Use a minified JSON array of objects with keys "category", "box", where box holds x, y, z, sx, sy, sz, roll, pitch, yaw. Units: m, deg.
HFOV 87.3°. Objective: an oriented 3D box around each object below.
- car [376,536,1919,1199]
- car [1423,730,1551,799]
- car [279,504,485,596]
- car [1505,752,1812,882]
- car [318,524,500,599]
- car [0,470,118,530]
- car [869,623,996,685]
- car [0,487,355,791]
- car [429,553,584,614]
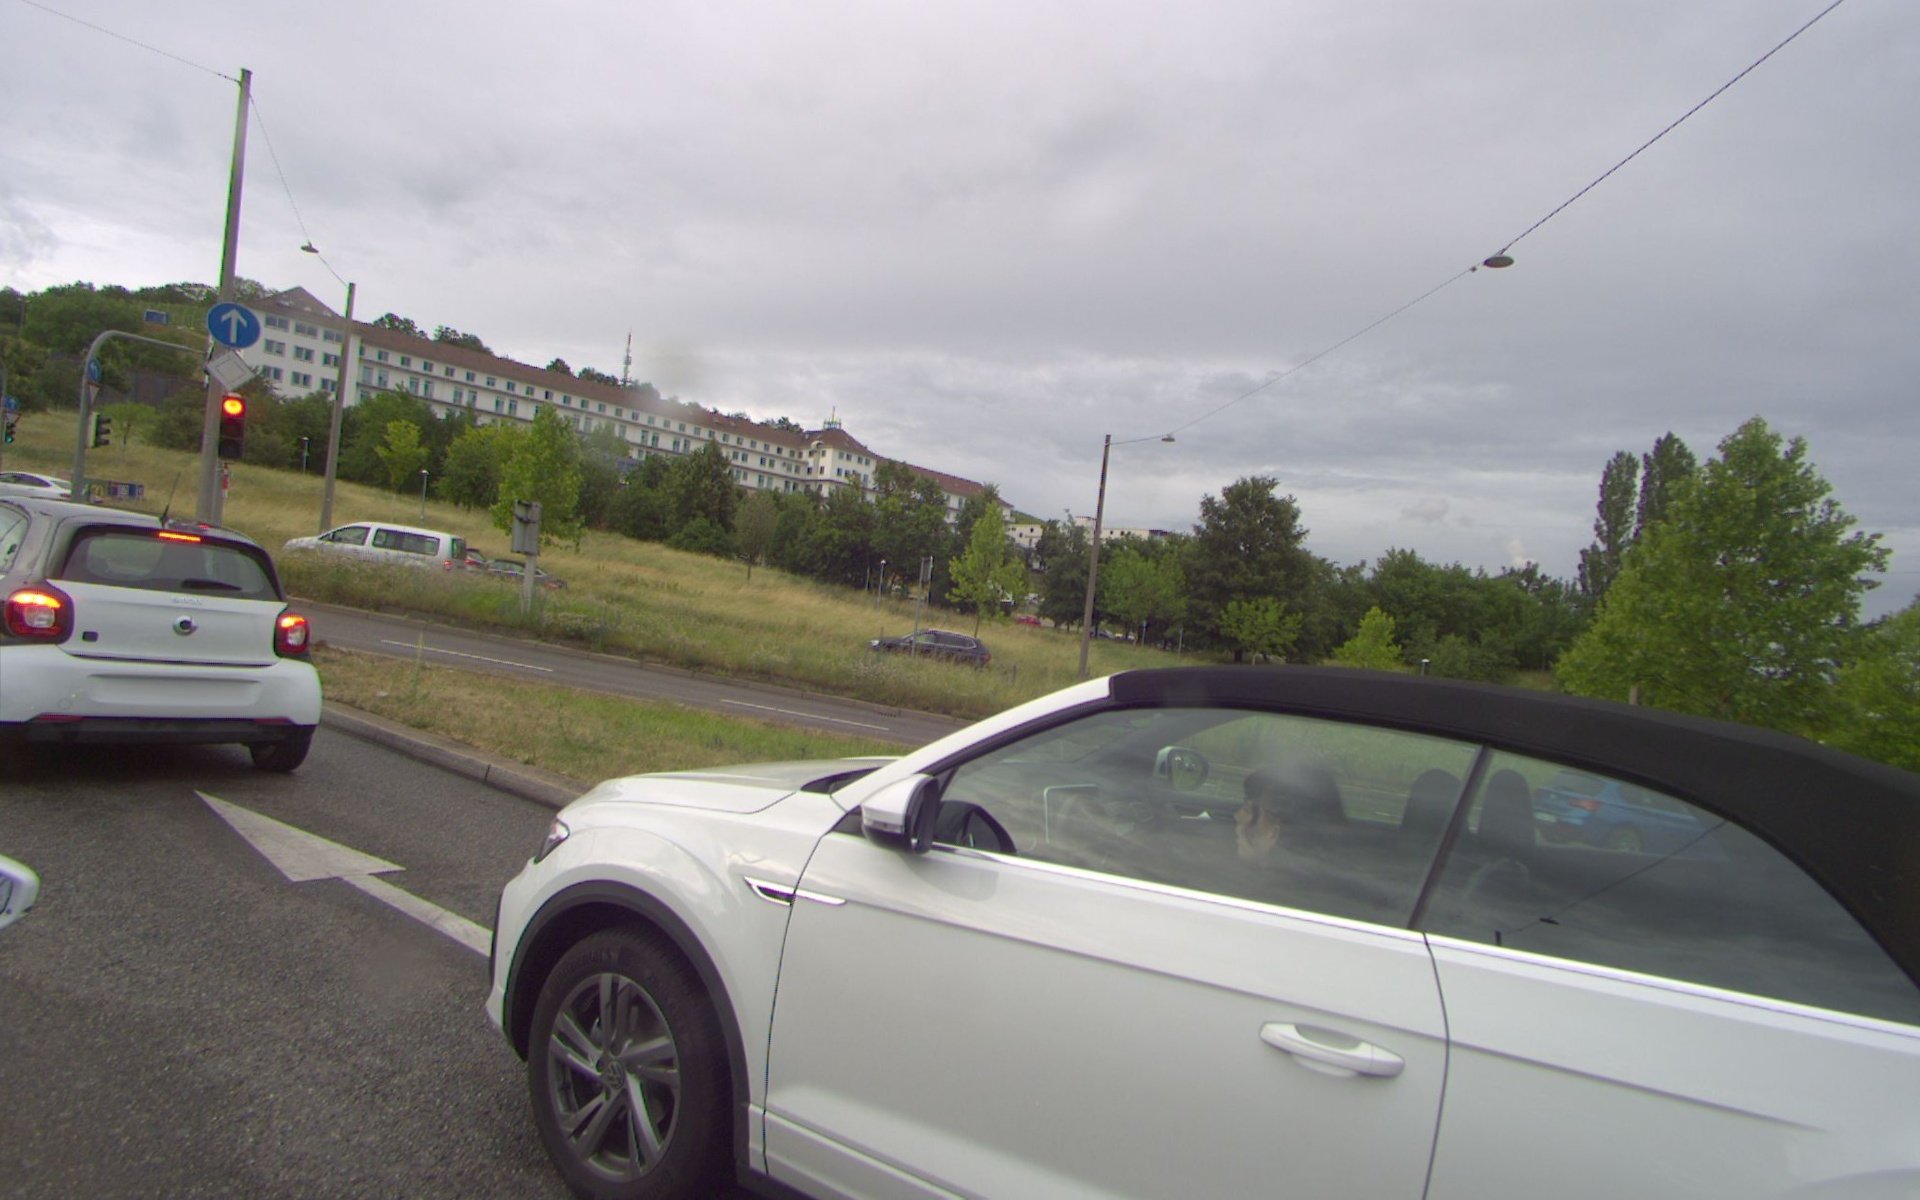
[{"category":"car","box":[0.757,0.886,2.427,4.157,1.571,1.718,6,-2,29]},{"category":"car","box":[20.960,6.520,40.088,3.932,2.037,1.998,8,-2,-8]},{"category":"car","box":[-16.517,-1.383,29.004,4.620,1.871,1.819,8,-2,-10]},{"category":"car","box":[12.156,3.766,17.644,4.217,1.492,1.700,7,-2,-5]},{"category":"car","box":[-17.248,-1.159,31.696,4.449,1.639,1.998,8,-2,-9]},{"category":"car","box":[-32.294,-3.576,34.822,4.342,1.494,2.000,7,-2,-5]},{"category":"car","box":[-1.041,1.928,36.566,4.342,1.655,2.000,7,-2,-5]},{"category":"car","box":[-5.728,0.149,6.651,3.398,1.520,1.659,6,-2,36]},{"category":"car","box":[-16.004,-0.566,35.694,4.422,1.494,2.000,7,-2,-3]}]
